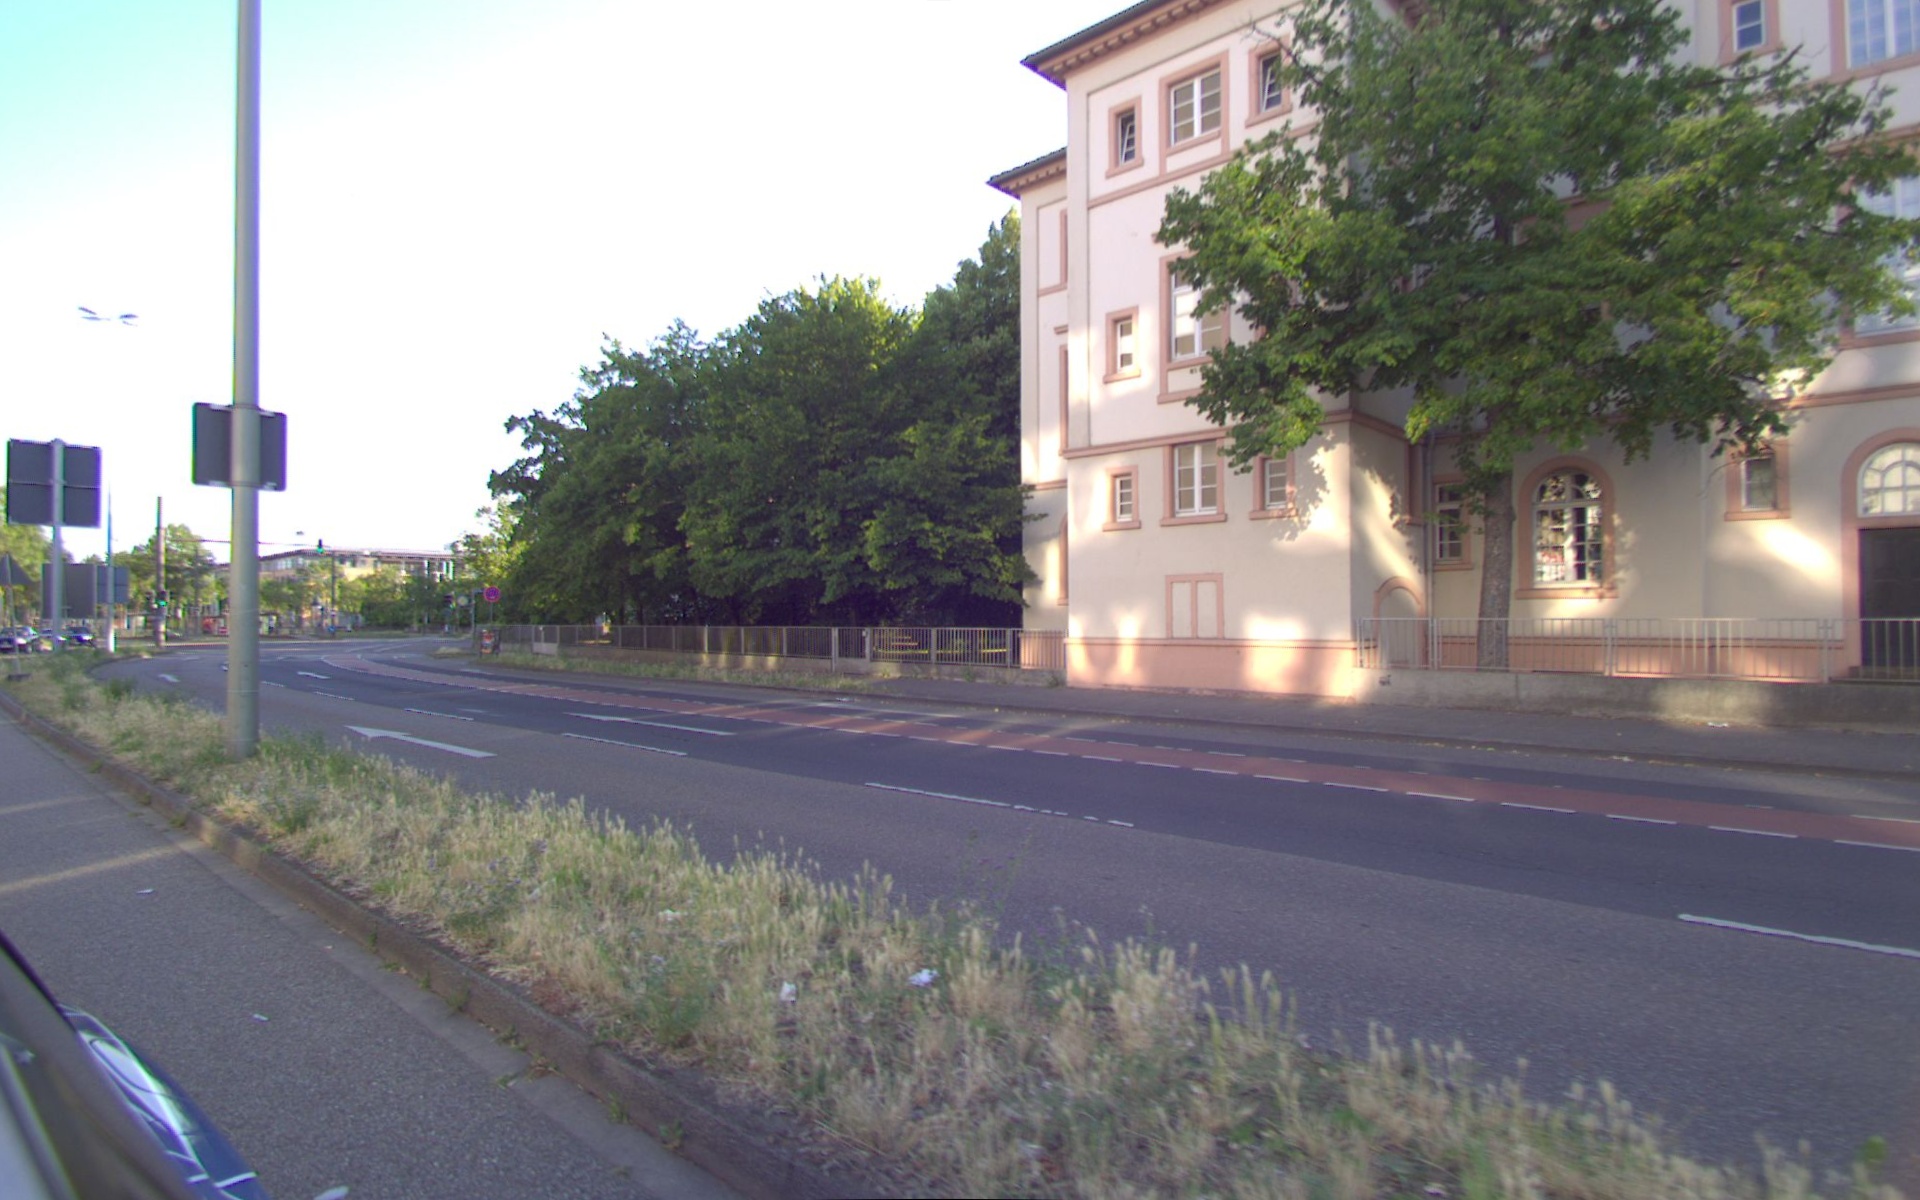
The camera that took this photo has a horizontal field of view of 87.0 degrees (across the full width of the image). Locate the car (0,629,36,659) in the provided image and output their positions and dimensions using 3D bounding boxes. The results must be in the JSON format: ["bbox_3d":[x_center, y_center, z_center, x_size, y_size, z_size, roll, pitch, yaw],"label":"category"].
[{"bbox_3d":[-49.641,2.294,52.795,1.559,1.460,3.882,-1,-1,-35],"label":"car"}]

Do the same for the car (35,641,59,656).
[{"bbox_3d":[-94.782,5.031,105.047,1.649,1.429,4.448,-1,-1,-40],"label":"car"}]

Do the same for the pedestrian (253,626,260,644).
[{"bbox_3d":[-79.231,3.927,113.976,0.664,2.029,0.549,-2,-2,42],"label":"pedestrian"}]

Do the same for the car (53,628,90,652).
[{"bbox_3d":[-58.177,2.588,66.324,1.705,1.460,4.053,-1,-1,-39],"label":"car"}]
